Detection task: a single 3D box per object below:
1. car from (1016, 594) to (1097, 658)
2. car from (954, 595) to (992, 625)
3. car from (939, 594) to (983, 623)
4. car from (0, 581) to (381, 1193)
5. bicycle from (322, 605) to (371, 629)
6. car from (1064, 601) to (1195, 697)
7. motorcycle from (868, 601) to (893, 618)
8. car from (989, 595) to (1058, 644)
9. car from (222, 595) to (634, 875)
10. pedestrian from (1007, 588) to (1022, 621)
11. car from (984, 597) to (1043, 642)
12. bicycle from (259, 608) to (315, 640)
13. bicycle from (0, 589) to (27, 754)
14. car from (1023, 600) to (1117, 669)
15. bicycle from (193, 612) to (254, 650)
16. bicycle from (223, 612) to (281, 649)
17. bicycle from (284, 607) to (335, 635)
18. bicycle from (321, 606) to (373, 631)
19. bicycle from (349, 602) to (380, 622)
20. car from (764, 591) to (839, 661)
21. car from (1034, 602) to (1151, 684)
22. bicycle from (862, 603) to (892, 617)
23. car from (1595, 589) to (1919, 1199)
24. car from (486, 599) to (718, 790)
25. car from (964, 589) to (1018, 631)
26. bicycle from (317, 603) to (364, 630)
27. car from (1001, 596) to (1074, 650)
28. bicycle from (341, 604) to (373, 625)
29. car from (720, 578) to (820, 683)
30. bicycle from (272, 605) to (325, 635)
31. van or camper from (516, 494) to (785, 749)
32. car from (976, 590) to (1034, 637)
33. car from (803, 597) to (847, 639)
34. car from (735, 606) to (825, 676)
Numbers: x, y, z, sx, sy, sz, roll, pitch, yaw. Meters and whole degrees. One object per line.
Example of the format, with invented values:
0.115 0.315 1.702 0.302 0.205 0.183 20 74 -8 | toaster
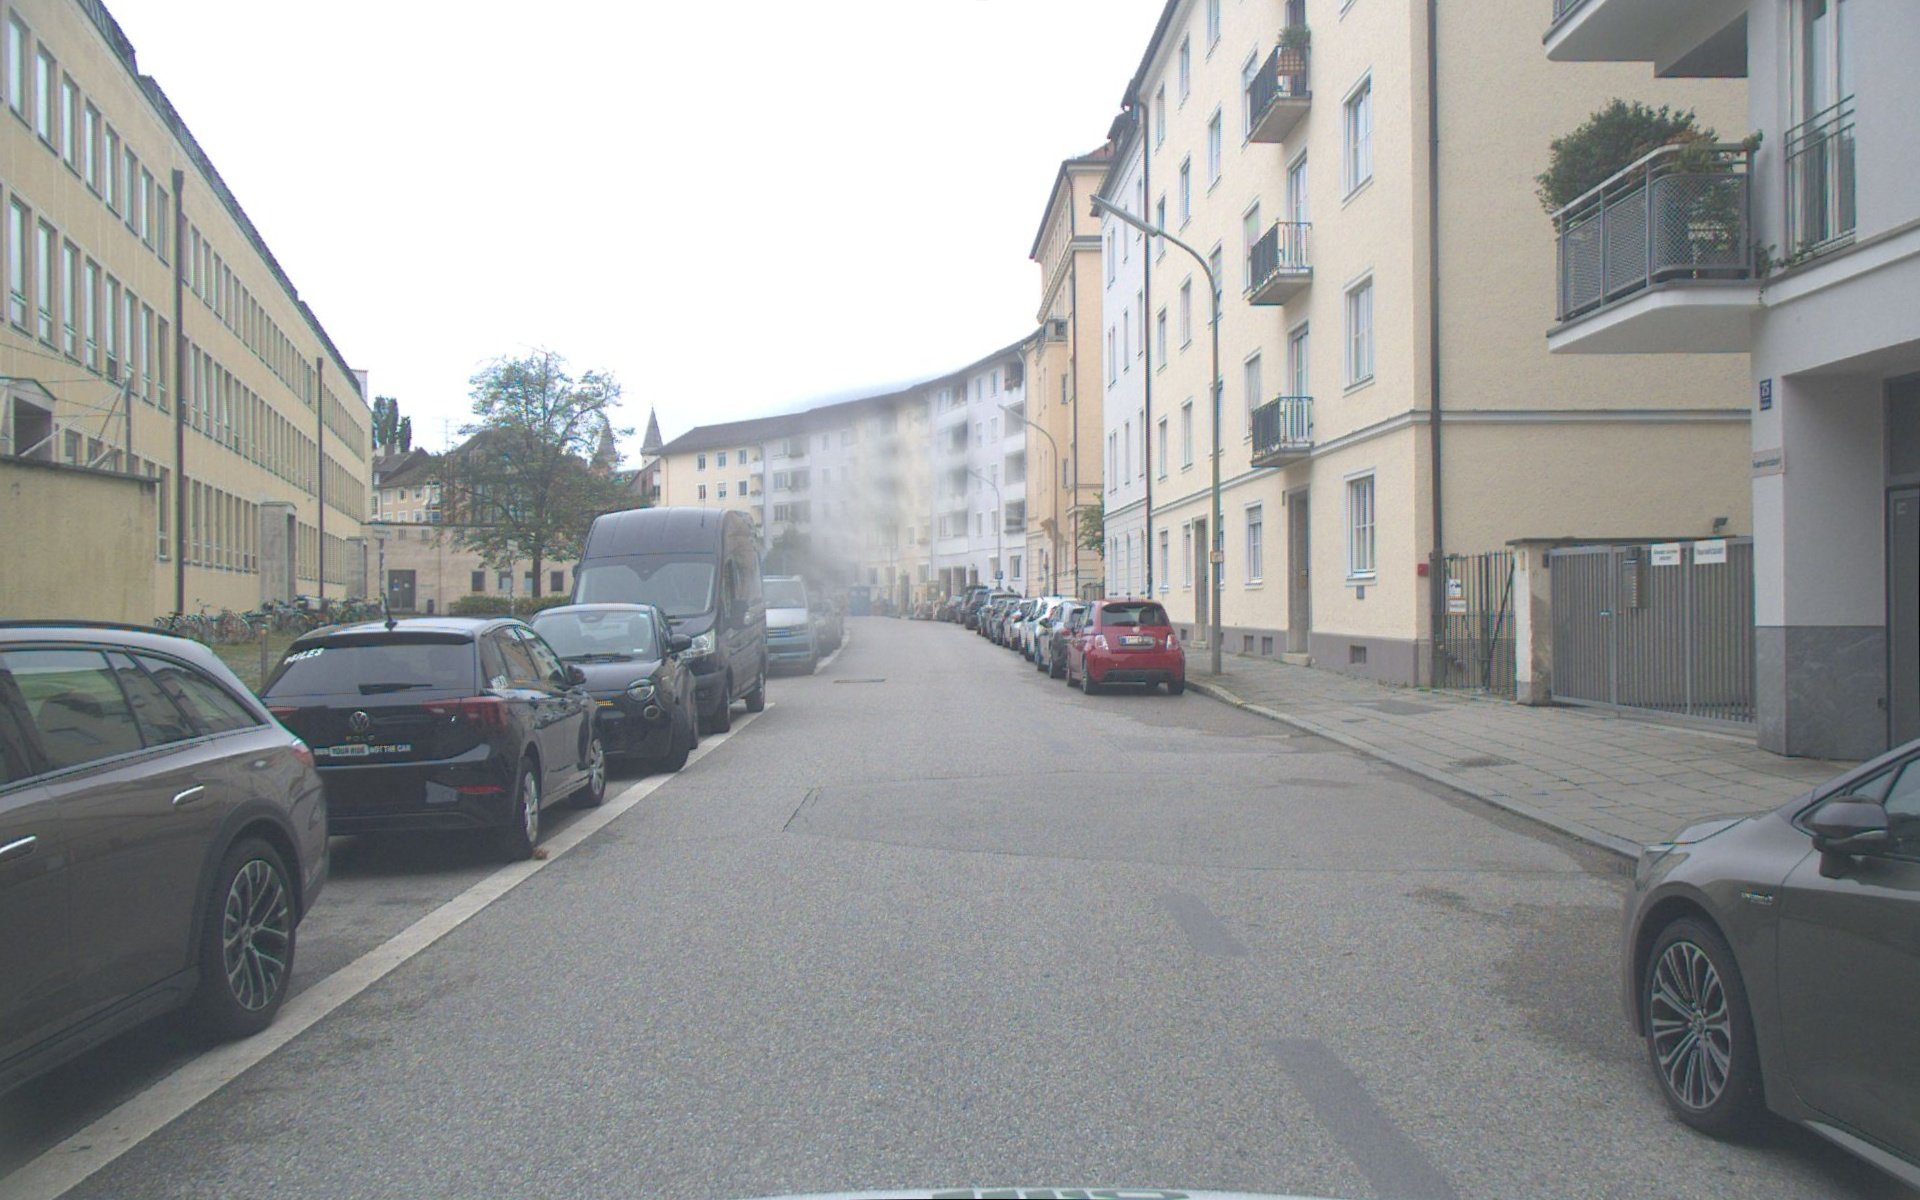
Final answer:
2.473 0.644 43.158 1.618 1.570 3.990 0 0 -4 | car
0.649 0.486 83.559 1.599 1.442 3.676 0 0 -5 | car
0.037 0.449 89.804 1.871 1.503 4.940 0 0 -6 | car
-3.394 0.768 4.370 1.825 1.568 5.092 -2 0 1 | car
-24.982 0.692 67.384 1.831 0.961 0.412 1 0 -21 | bicycle
2.747 0.764 27.536 1.622 1.454 3.754 0 0 -3 | car
-5.869 0.706 121.949 0.920 1.242 2.486 0 0 -26 | motorcycle
1.999 0.604 53.106 1.838 1.475 4.675 0 0 -3 | car
-3.354 0.735 11.275 1.642 1.461 4.283 -2 0 -4 | car
2.904 0.228 88.144 0.605 1.719 0.919 -4 0 -2 | pedestrian
1.859 0.661 58.259 1.791 1.475 4.082 0 0 -2 | car
-21.197 0.758 52.101 1.581 0.961 0.500 1 0 -21 | bicycle
-7.689 0.545 12.034 0.786 1.255 1.867 -1 -1 -2 | bicycle
2.468 0.743 38.080 1.690 1.454 4.291 0 0 -3 | car
-19.193 0.805 43.123 1.379 0.961 0.414 1 0 -6 | bicycle
-19.122 0.823 44.692 1.383 0.961 0.413 1 0 -15 | bicycle
-22.277 0.718 56.610 1.584 0.961 0.499 1 0 -26 | bicycle
-24.743 0.745 66.779 1.919 0.961 0.413 1 0 -15 | bicycle
-29.889 0.597 82.992 1.448 0.961 0.412 1 0 -19 | bicycle
-4.193 0.659 44.176 1.680 1.719 4.139 -2 0 -2 | car
2.527 0.788 32.508 1.737 1.454 4.613 0 0 -3 | car
-6.535 0.776 129.946 2.205 1.088 0.912 0 0 -27 | bicycle
3.142 0.730 3.553 1.736 1.501 4.215 0 0 -4 | car
-3.296 0.792 15.878 1.620 1.523 3.905 -2 0 -5 | car
1.331 0.396 73.371 2.126 1.769 5.022 0 0 -2 | car
-26.218 0.704 70.000 1.817 1.115 0.699 1 0 -19 | bicycle
2.216 0.647 48.326 1.690 1.475 4.185 0 0 -4 | car
-28.286 0.663 77.605 1.385 0.961 0.412 1 0 -19 | bicycle
-3.817 0.558 33.889 1.877 1.994 4.956 0 0 -5 | car
-21.719 0.660 54.303 1.581 0.961 0.500 1 0 -21 | bicycle
-3.686 0.221 20.902 2.246 2.697 5.561 -2 0 0 | van or camper
1.672 0.483 63.116 1.810 1.692 4.495 0 0 -3 | car
-5.330 0.684 65.505 1.599 1.520 4.272 -3 0 -4 | car
-4.178 0.926 38.831 1.768 1.431 3.708 -3 0 -2 | car
